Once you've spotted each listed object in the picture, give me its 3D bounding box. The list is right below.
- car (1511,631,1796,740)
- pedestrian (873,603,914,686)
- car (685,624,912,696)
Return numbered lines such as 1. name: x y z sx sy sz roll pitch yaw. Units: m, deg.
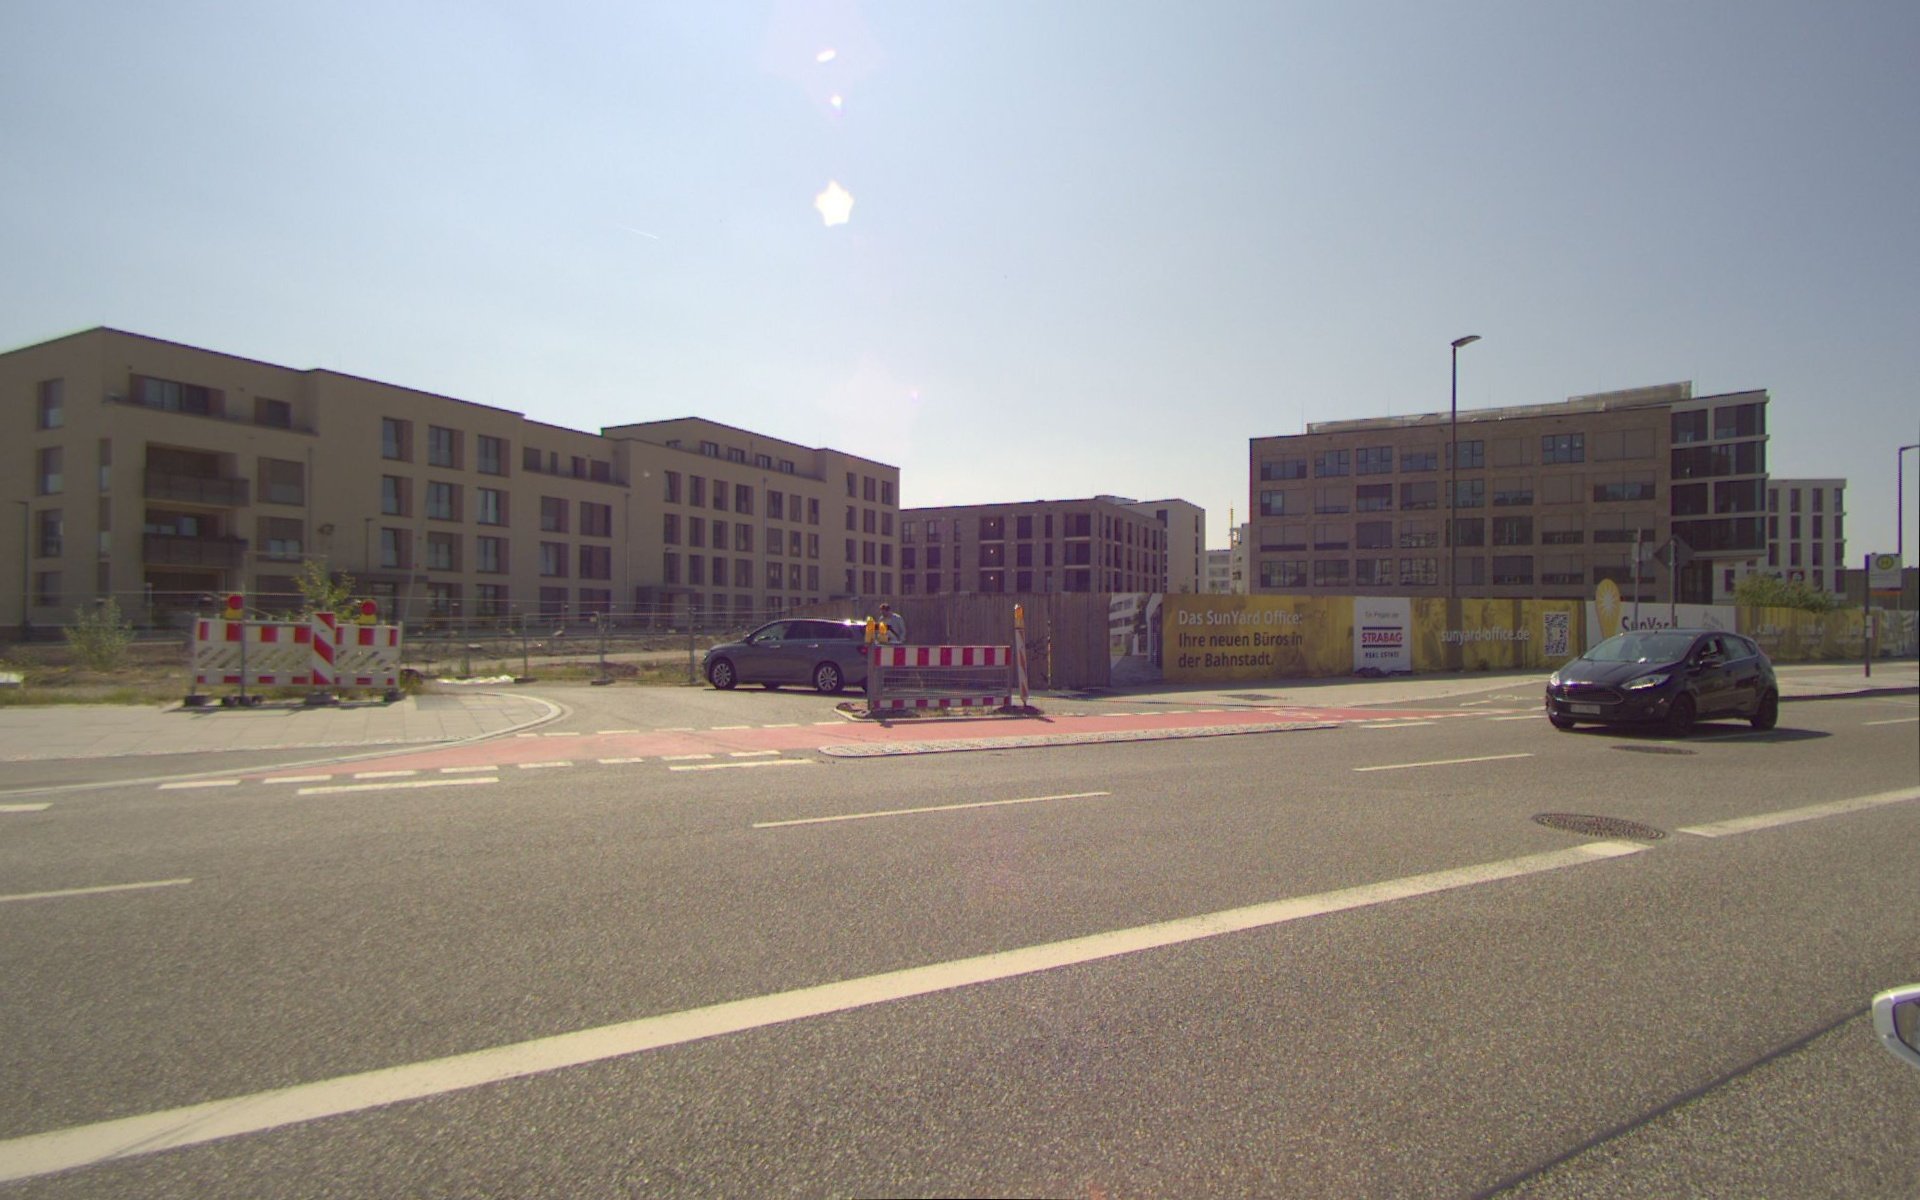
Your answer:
1. car: 10.063 1.154 14.494 4.404 1.370 1.696 2 -2 -30
2. pedestrian: -1.411 0.942 21.392 0.741 1.706 0.687 2 0 2
3. car: -3.271 1.162 20.385 4.168 1.335 1.998 -1 -2 25
